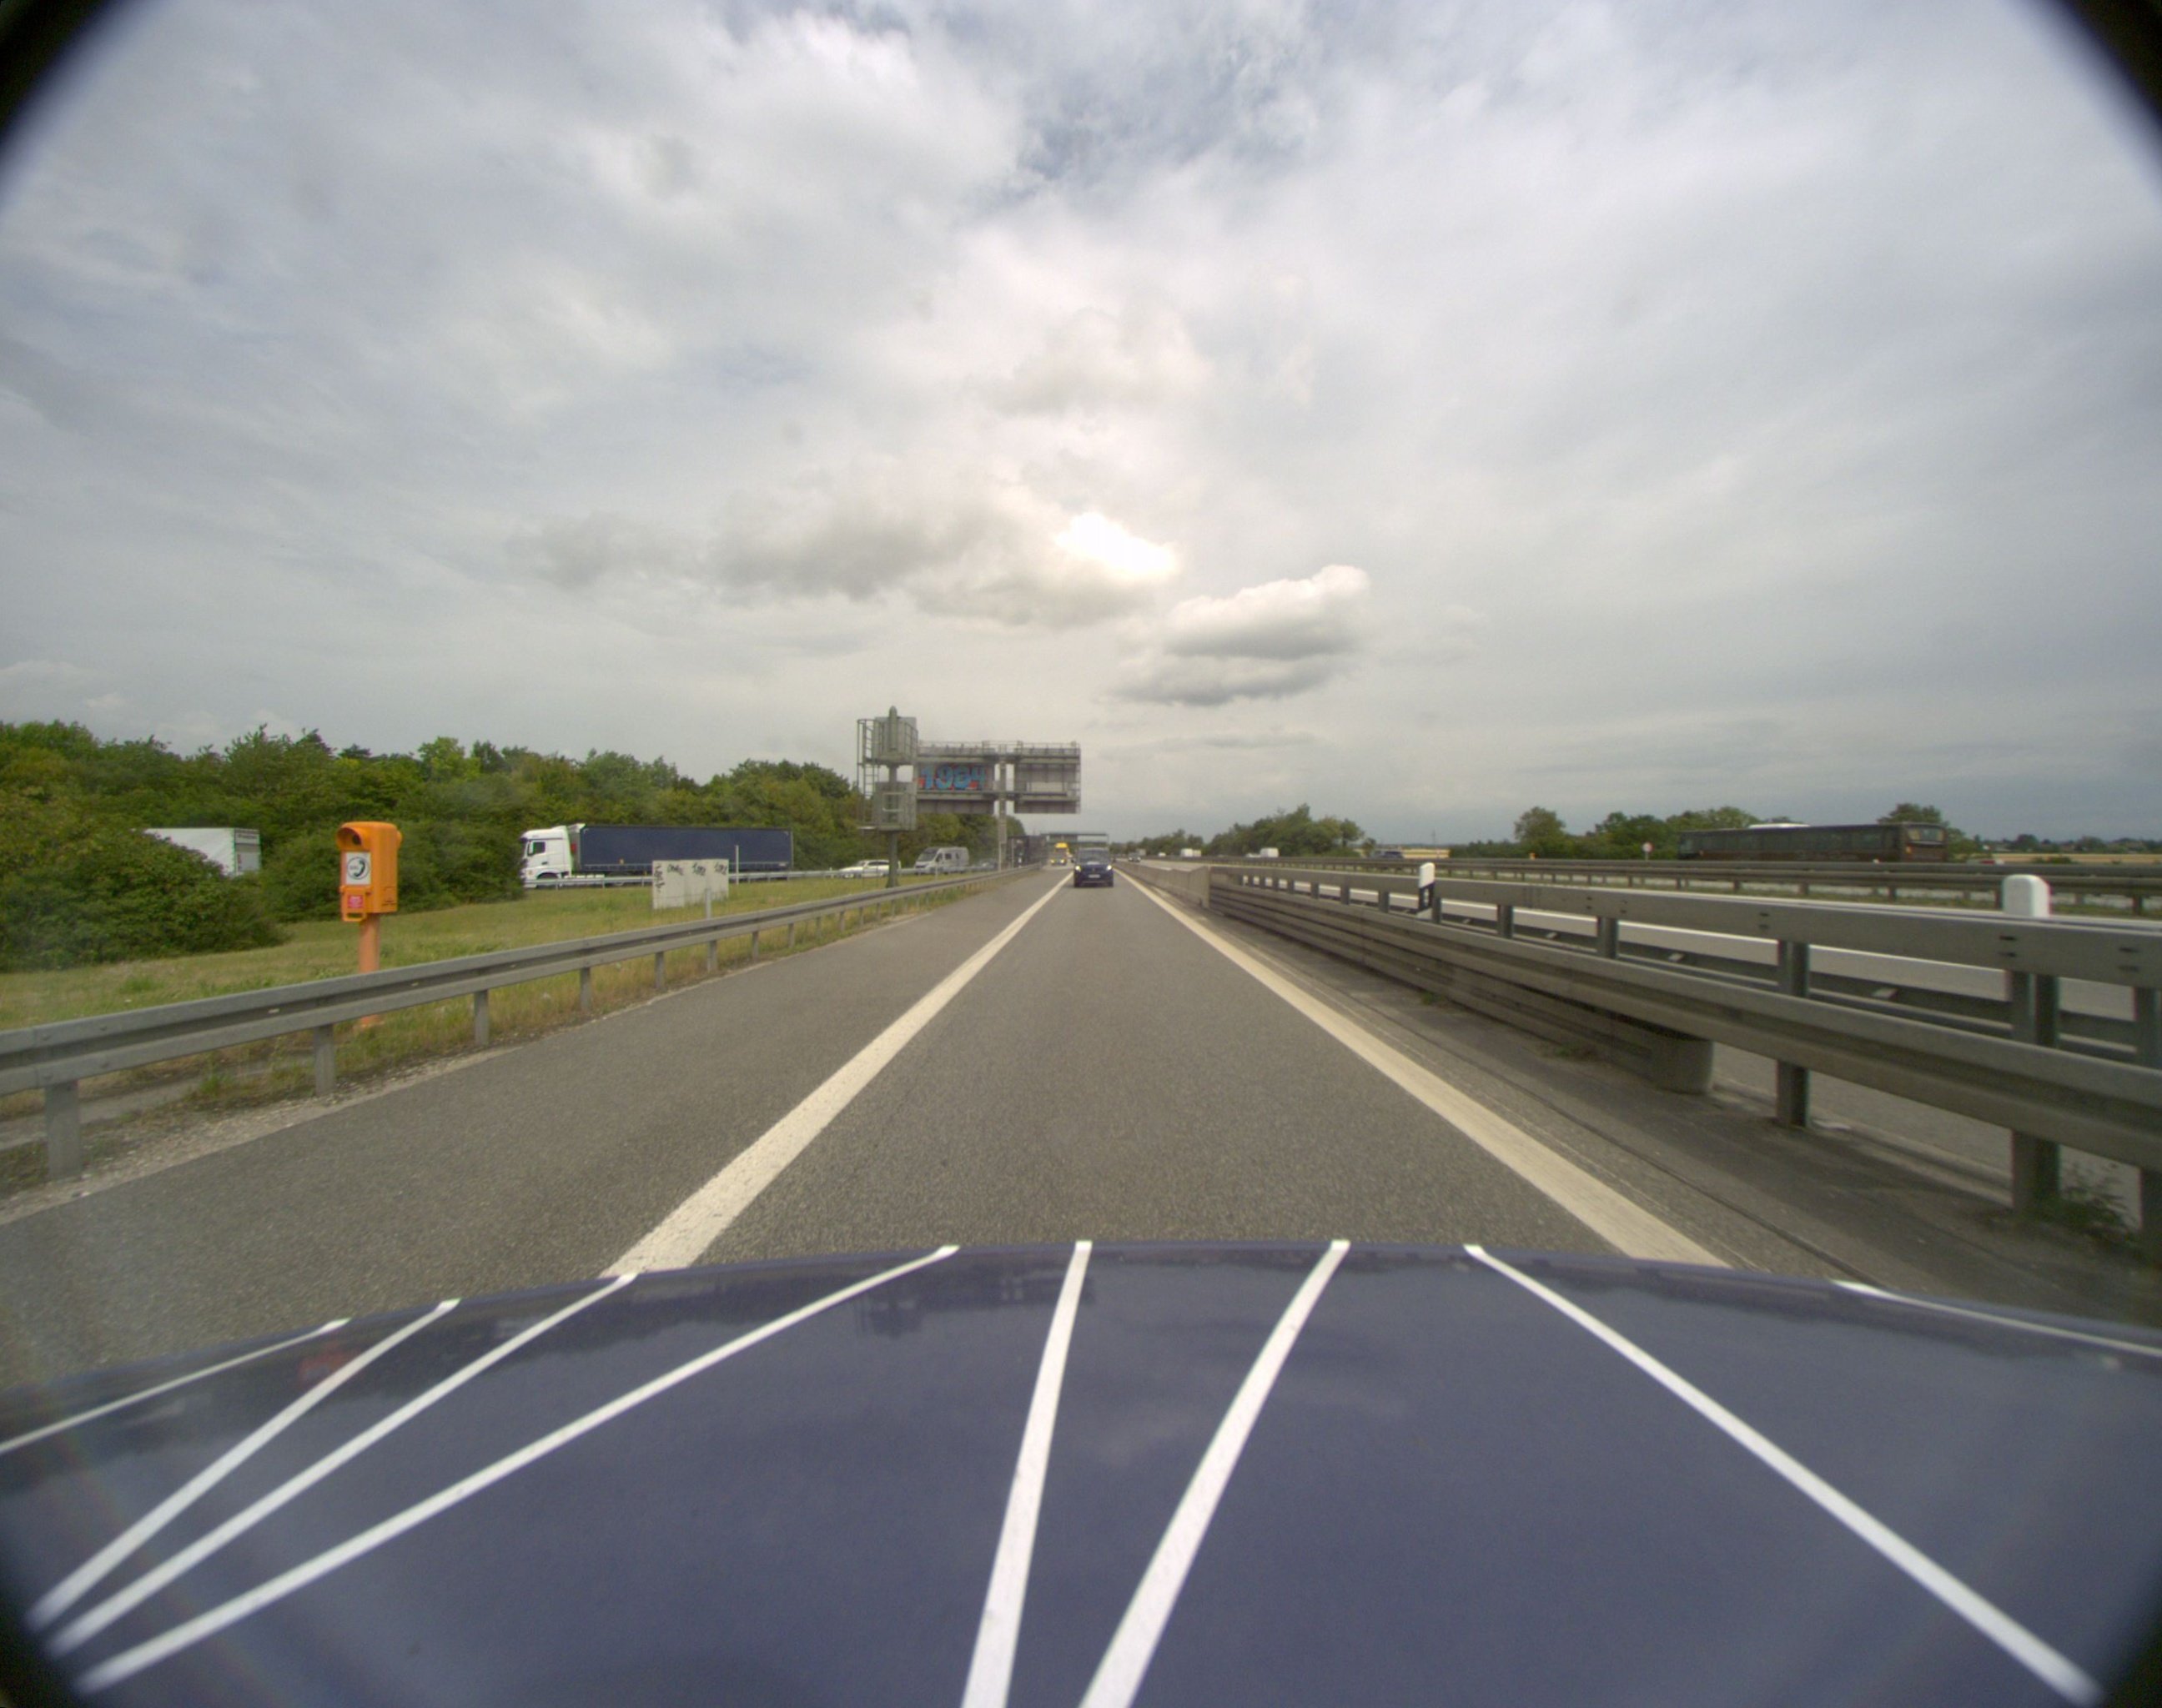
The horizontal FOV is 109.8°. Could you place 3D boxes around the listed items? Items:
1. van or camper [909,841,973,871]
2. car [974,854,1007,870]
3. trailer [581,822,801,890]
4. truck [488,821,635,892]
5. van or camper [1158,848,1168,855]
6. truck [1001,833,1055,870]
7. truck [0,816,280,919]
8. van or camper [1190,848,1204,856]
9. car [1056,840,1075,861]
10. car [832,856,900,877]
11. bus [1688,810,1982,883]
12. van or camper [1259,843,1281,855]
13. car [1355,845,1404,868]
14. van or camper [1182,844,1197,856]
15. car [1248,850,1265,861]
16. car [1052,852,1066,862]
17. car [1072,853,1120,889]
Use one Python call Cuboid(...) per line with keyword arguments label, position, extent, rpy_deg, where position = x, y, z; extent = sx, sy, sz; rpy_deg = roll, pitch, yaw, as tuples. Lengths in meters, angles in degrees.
Cuboid(label="van or camper", position=(-12.420, 0.161, 67.927), extent=(2.295, 2.553, 6.171), rpy_deg=(0, 1, 28))
Cuboid(label="car", position=(-8.978, 0.771, 75.650), extent=(1.731, 1.411, 3.670), rpy_deg=(-1, 1, 19))
Cuboid(label="trailer", position=(-26.483, 0.004, 52.626), extent=(3.332, 4.169, 13.058), rpy_deg=(-1, 1, 44))
Cuboid(label="truck", position=(-31.957, 0.080, 46.931), extent=(3.361, 4.071, 6.803), rpy_deg=(-1, 1, 43))
Cuboid(label="van or camper", position=(22.650, -0.705, 210.090), extent=(1.999, 1.818, 4.347), rpy_deg=(-1, 0, -1))
Cuboid(label="truck", position=(-5.952, -0.311, 87.482), extent=(3.021, 3.931, 10.351), rpy_deg=(-1, 0, 14))
Cuboid(label="truck", position=(-46.984, 0.540, 37.831), extent=(9.004, 4.589, 3.275), rpy_deg=(-2, 1, -30))
Cuboid(label="van or camper", position=(30.974, -0.620, 203.179), extent=(2.241, 2.002, 6.275), rpy_deg=(-1, 0, -4))
Cuboid(label="car", position=(-3.263, -0.774, 163.520), extent=(3.394, 4.457, 11.606), rpy_deg=(-1, 0, 1))
Cuboid(label="car", position=(-17.132, 0.942, 60.690), extent=(2.207, 1.492, 4.797), rpy_deg=(0, 1, 37))
Cuboid(label="bus", position=(41.361, -0.388, 42.930), extent=(3.223, 3.422, 12.987), rpy_deg=(-2, 1, -3))
Cuboid(label="van or camper", position=(33.832, -0.891, 136.340), extent=(2.193, 2.159, 5.807), rpy_deg=(-1, 0, -3))
Cuboid(label="car", position=(22.891, 0.150, 58.405), extent=(1.999, 1.652, 3.999), rpy_deg=(-2, 1, -3))
Cuboid(label="van or camper", position=(24.370, -0.873, 171.155), extent=(2.193, 2.604, 6.903), rpy_deg=(-1, 0, -2))
Cuboid(label="car", position=(25.735, 0.216, 111.253), extent=(1.527, 1.455, 3.999), rpy_deg=(-1, 0, 0))
Cuboid(label="car", position=(-3.088, 0.407, 106.991), extent=(1.866, 1.434, 3.999), rpy_deg=(-1, 0, -3))
Cuboid(label="car", position=(0.615, 0.708, 33.792), extent=(1.866, 1.434, 3.999), rpy_deg=(-1, 0, -3))
